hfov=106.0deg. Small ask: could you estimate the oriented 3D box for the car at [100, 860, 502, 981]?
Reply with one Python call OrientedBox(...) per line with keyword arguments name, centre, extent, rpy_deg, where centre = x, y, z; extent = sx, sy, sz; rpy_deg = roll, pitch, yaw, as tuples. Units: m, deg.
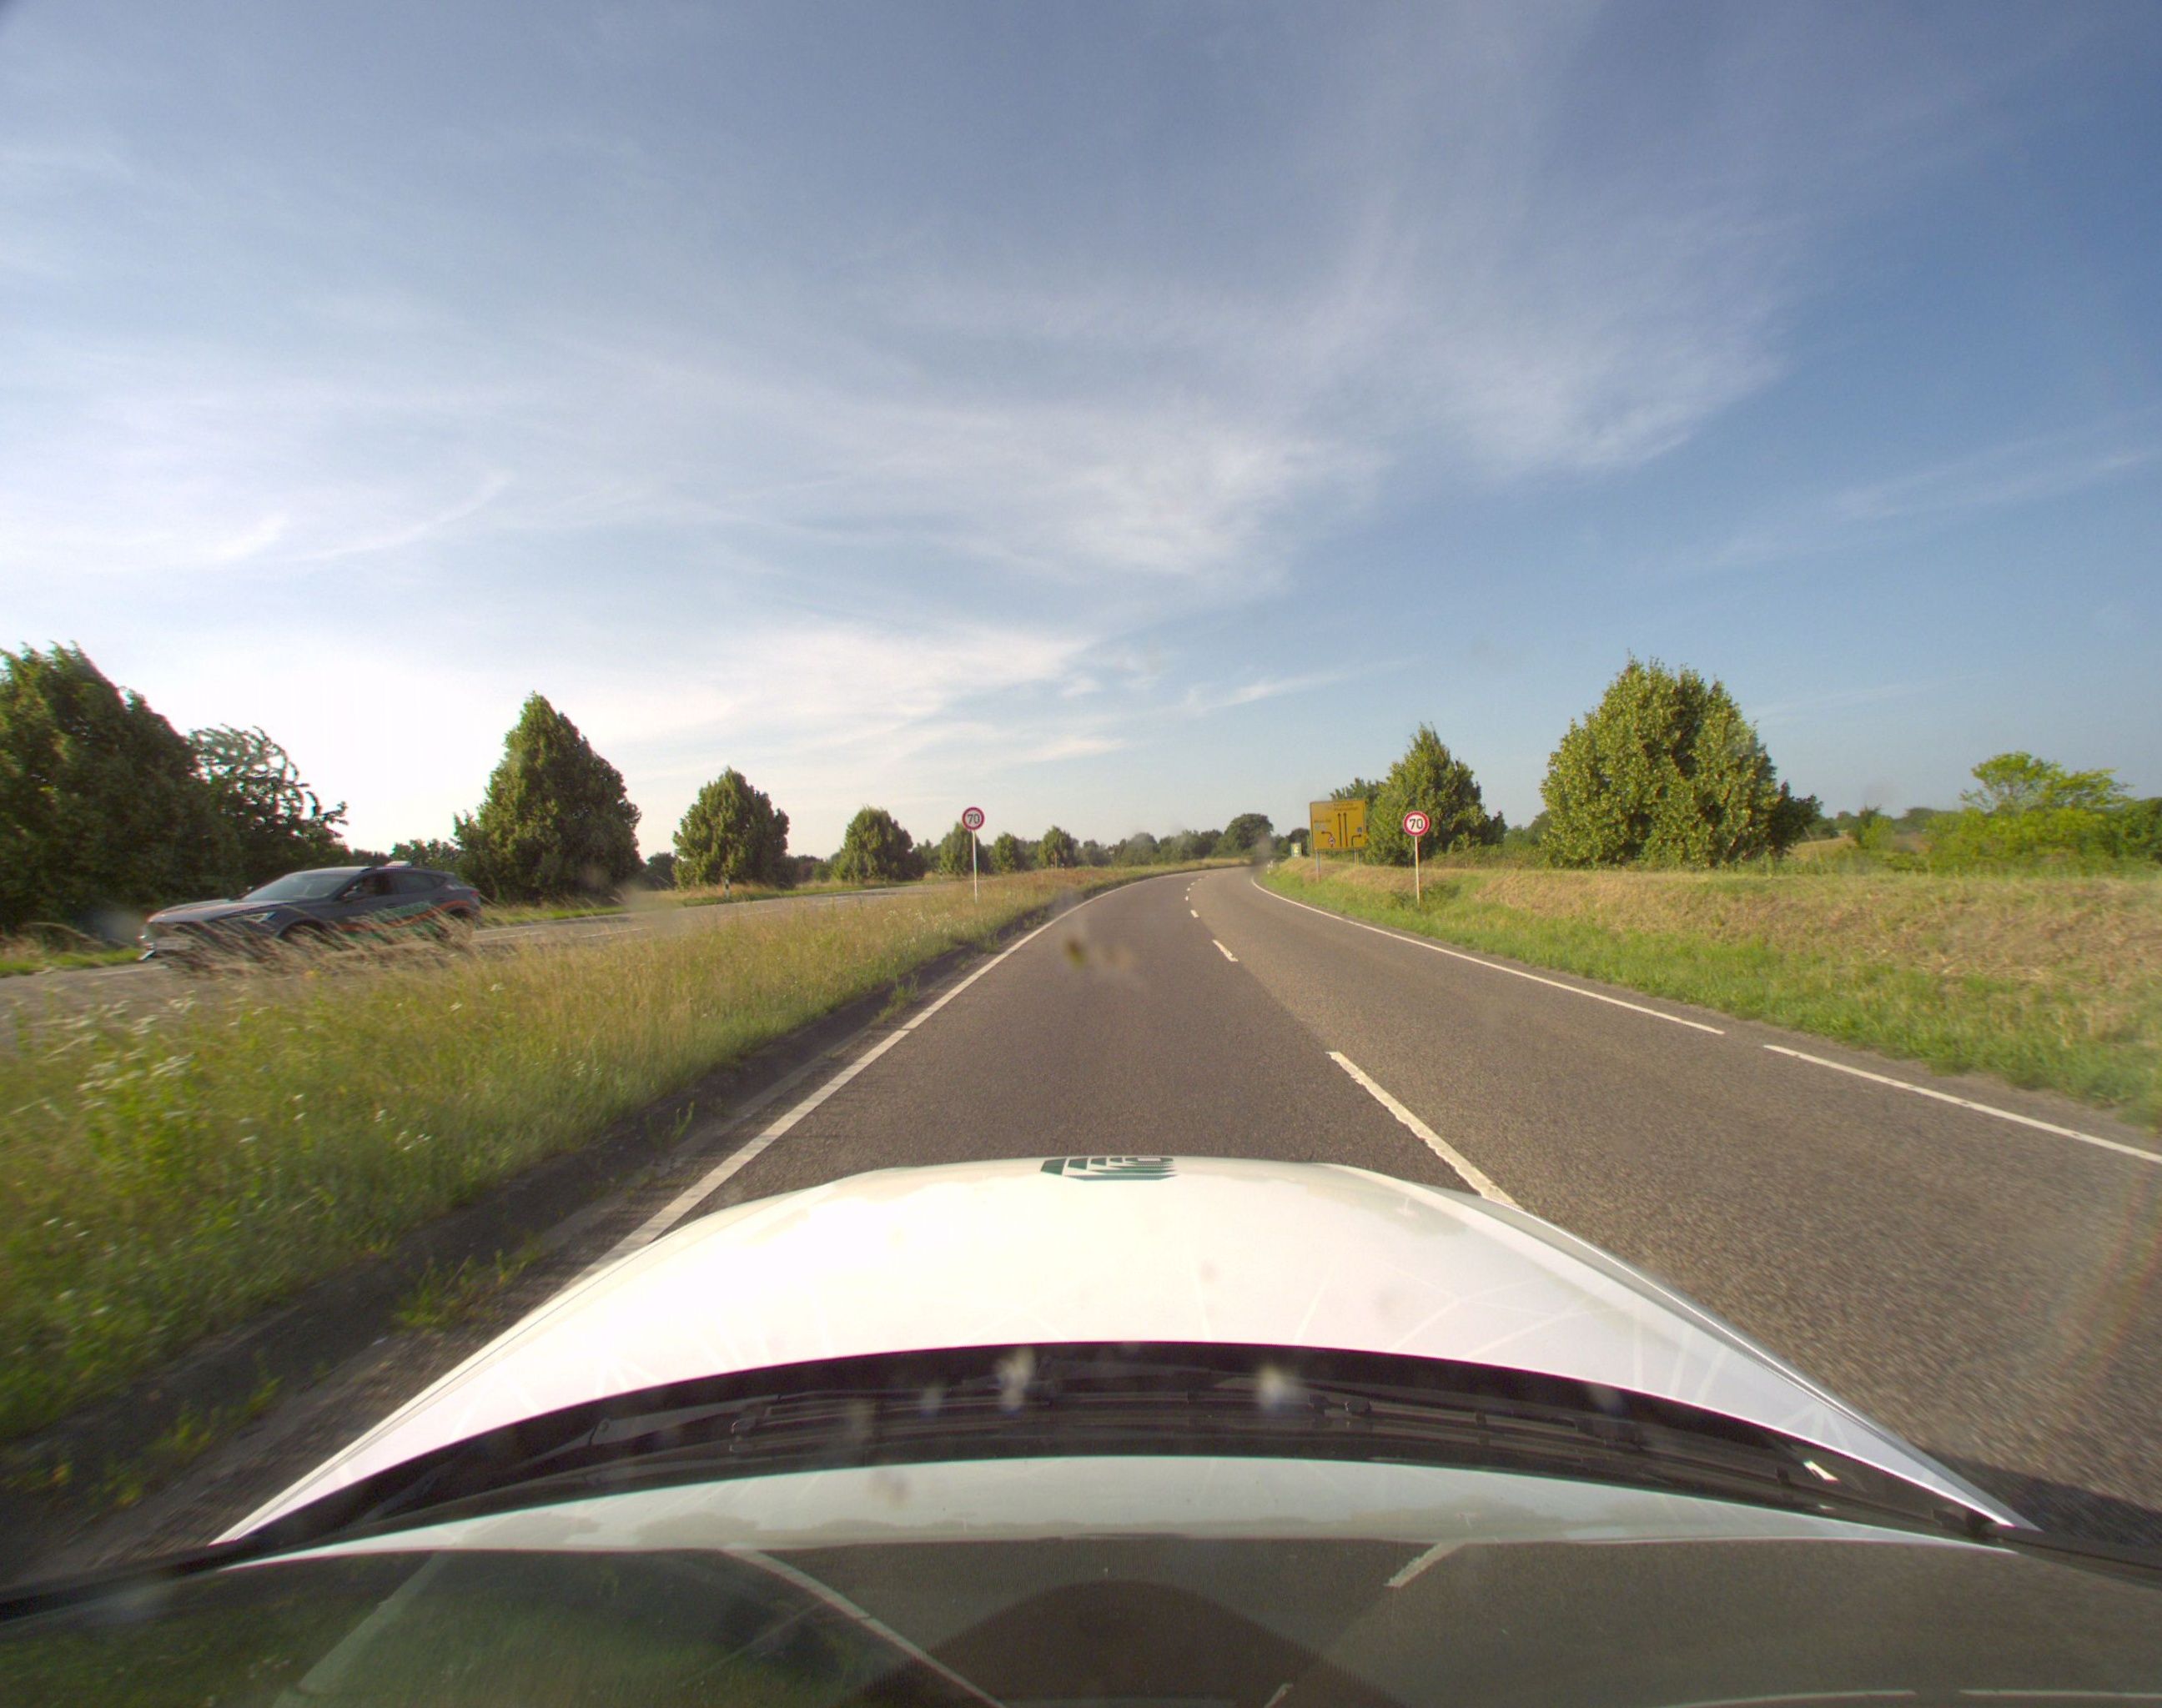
OrientedBox(name="car", centre=(-12.191, 0.922, 13.310), extent=(1.904, 1.565, 4.616), rpy_deg=(-1, 0, 4))
